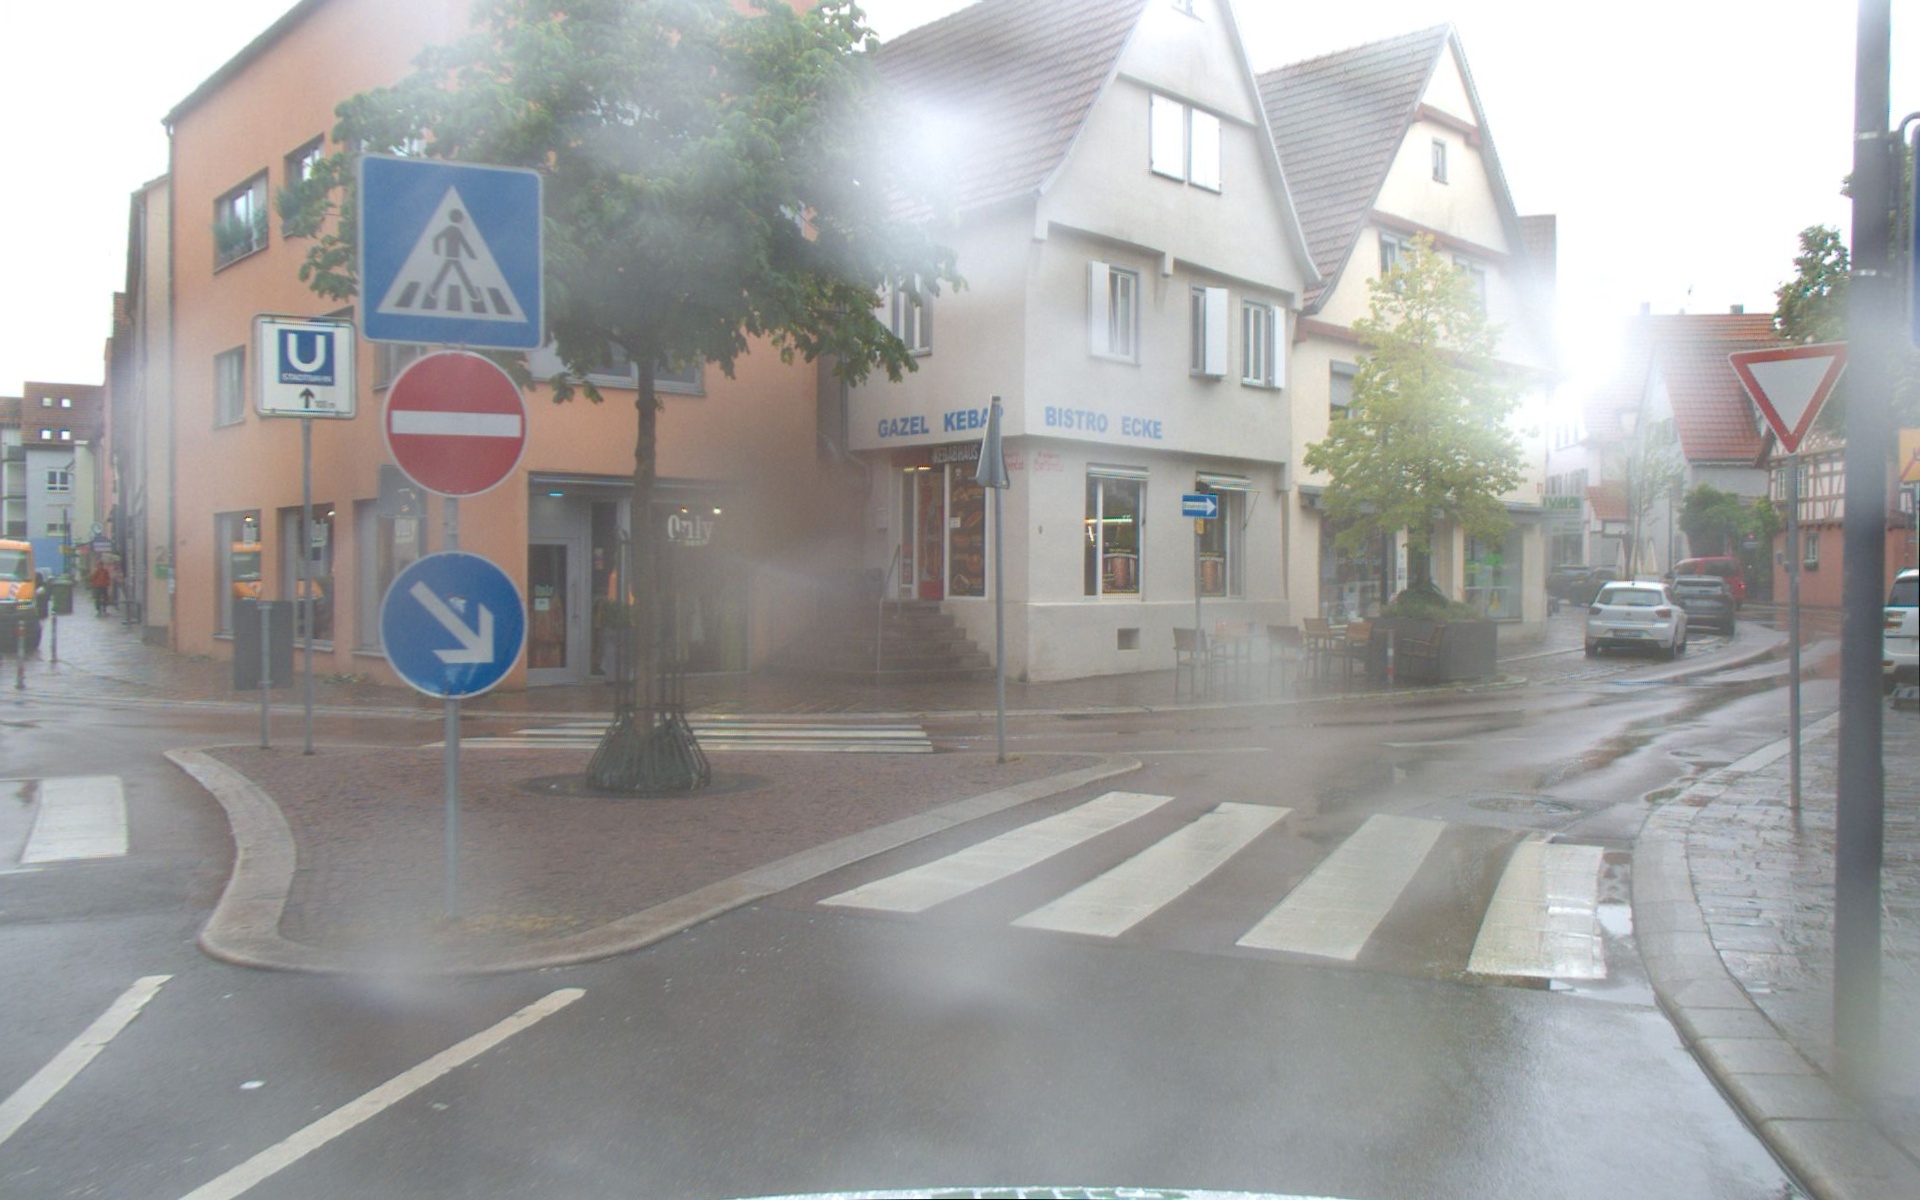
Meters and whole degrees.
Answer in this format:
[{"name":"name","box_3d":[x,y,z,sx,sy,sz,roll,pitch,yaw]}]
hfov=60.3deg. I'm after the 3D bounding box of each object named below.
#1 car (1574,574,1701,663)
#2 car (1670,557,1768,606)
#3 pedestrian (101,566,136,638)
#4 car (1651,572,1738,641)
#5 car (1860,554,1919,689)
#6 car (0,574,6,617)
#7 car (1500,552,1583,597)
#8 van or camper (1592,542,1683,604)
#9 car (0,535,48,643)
[{"name":"car","box_3d":[13.862,0.338,33.729,1.955,1.620,3.995,-2,1,28]},{"name":"car","box_3d":[27.148,-0.687,59.292,1.951,1.620,4.003,-2,1,6]},{"name":"pedestrian","box_3d":[-23.999,0.053,47.160,0.858,2.049,0.700,0,0,-31]},{"name":"car","box_3d":[19.238,0.151,43.244,1.954,1.620,3.998,-2,1,25]},{"name":"car","box_3d":[13.536,0.214,22.438,1.958,1.687,3.989,-2,1,33]},{"name":"car","box_3d":[-47.150,-0.179,79.345,1.969,2.048,3.968,-2,1,-25]},{"name":"car","box_3d":[22.759,-1.010,64.866,1.952,1.620,4.001,-2,1,2]},{"name":"van or camper","box_3d":[22.886,-0.923,56.002,1.788,1.952,4.003,-2,1,7]},{"name":"car","box_3d":[-21.054,-0.190,35.649,2.084,2.183,4.812,-2,1,-32]}]
